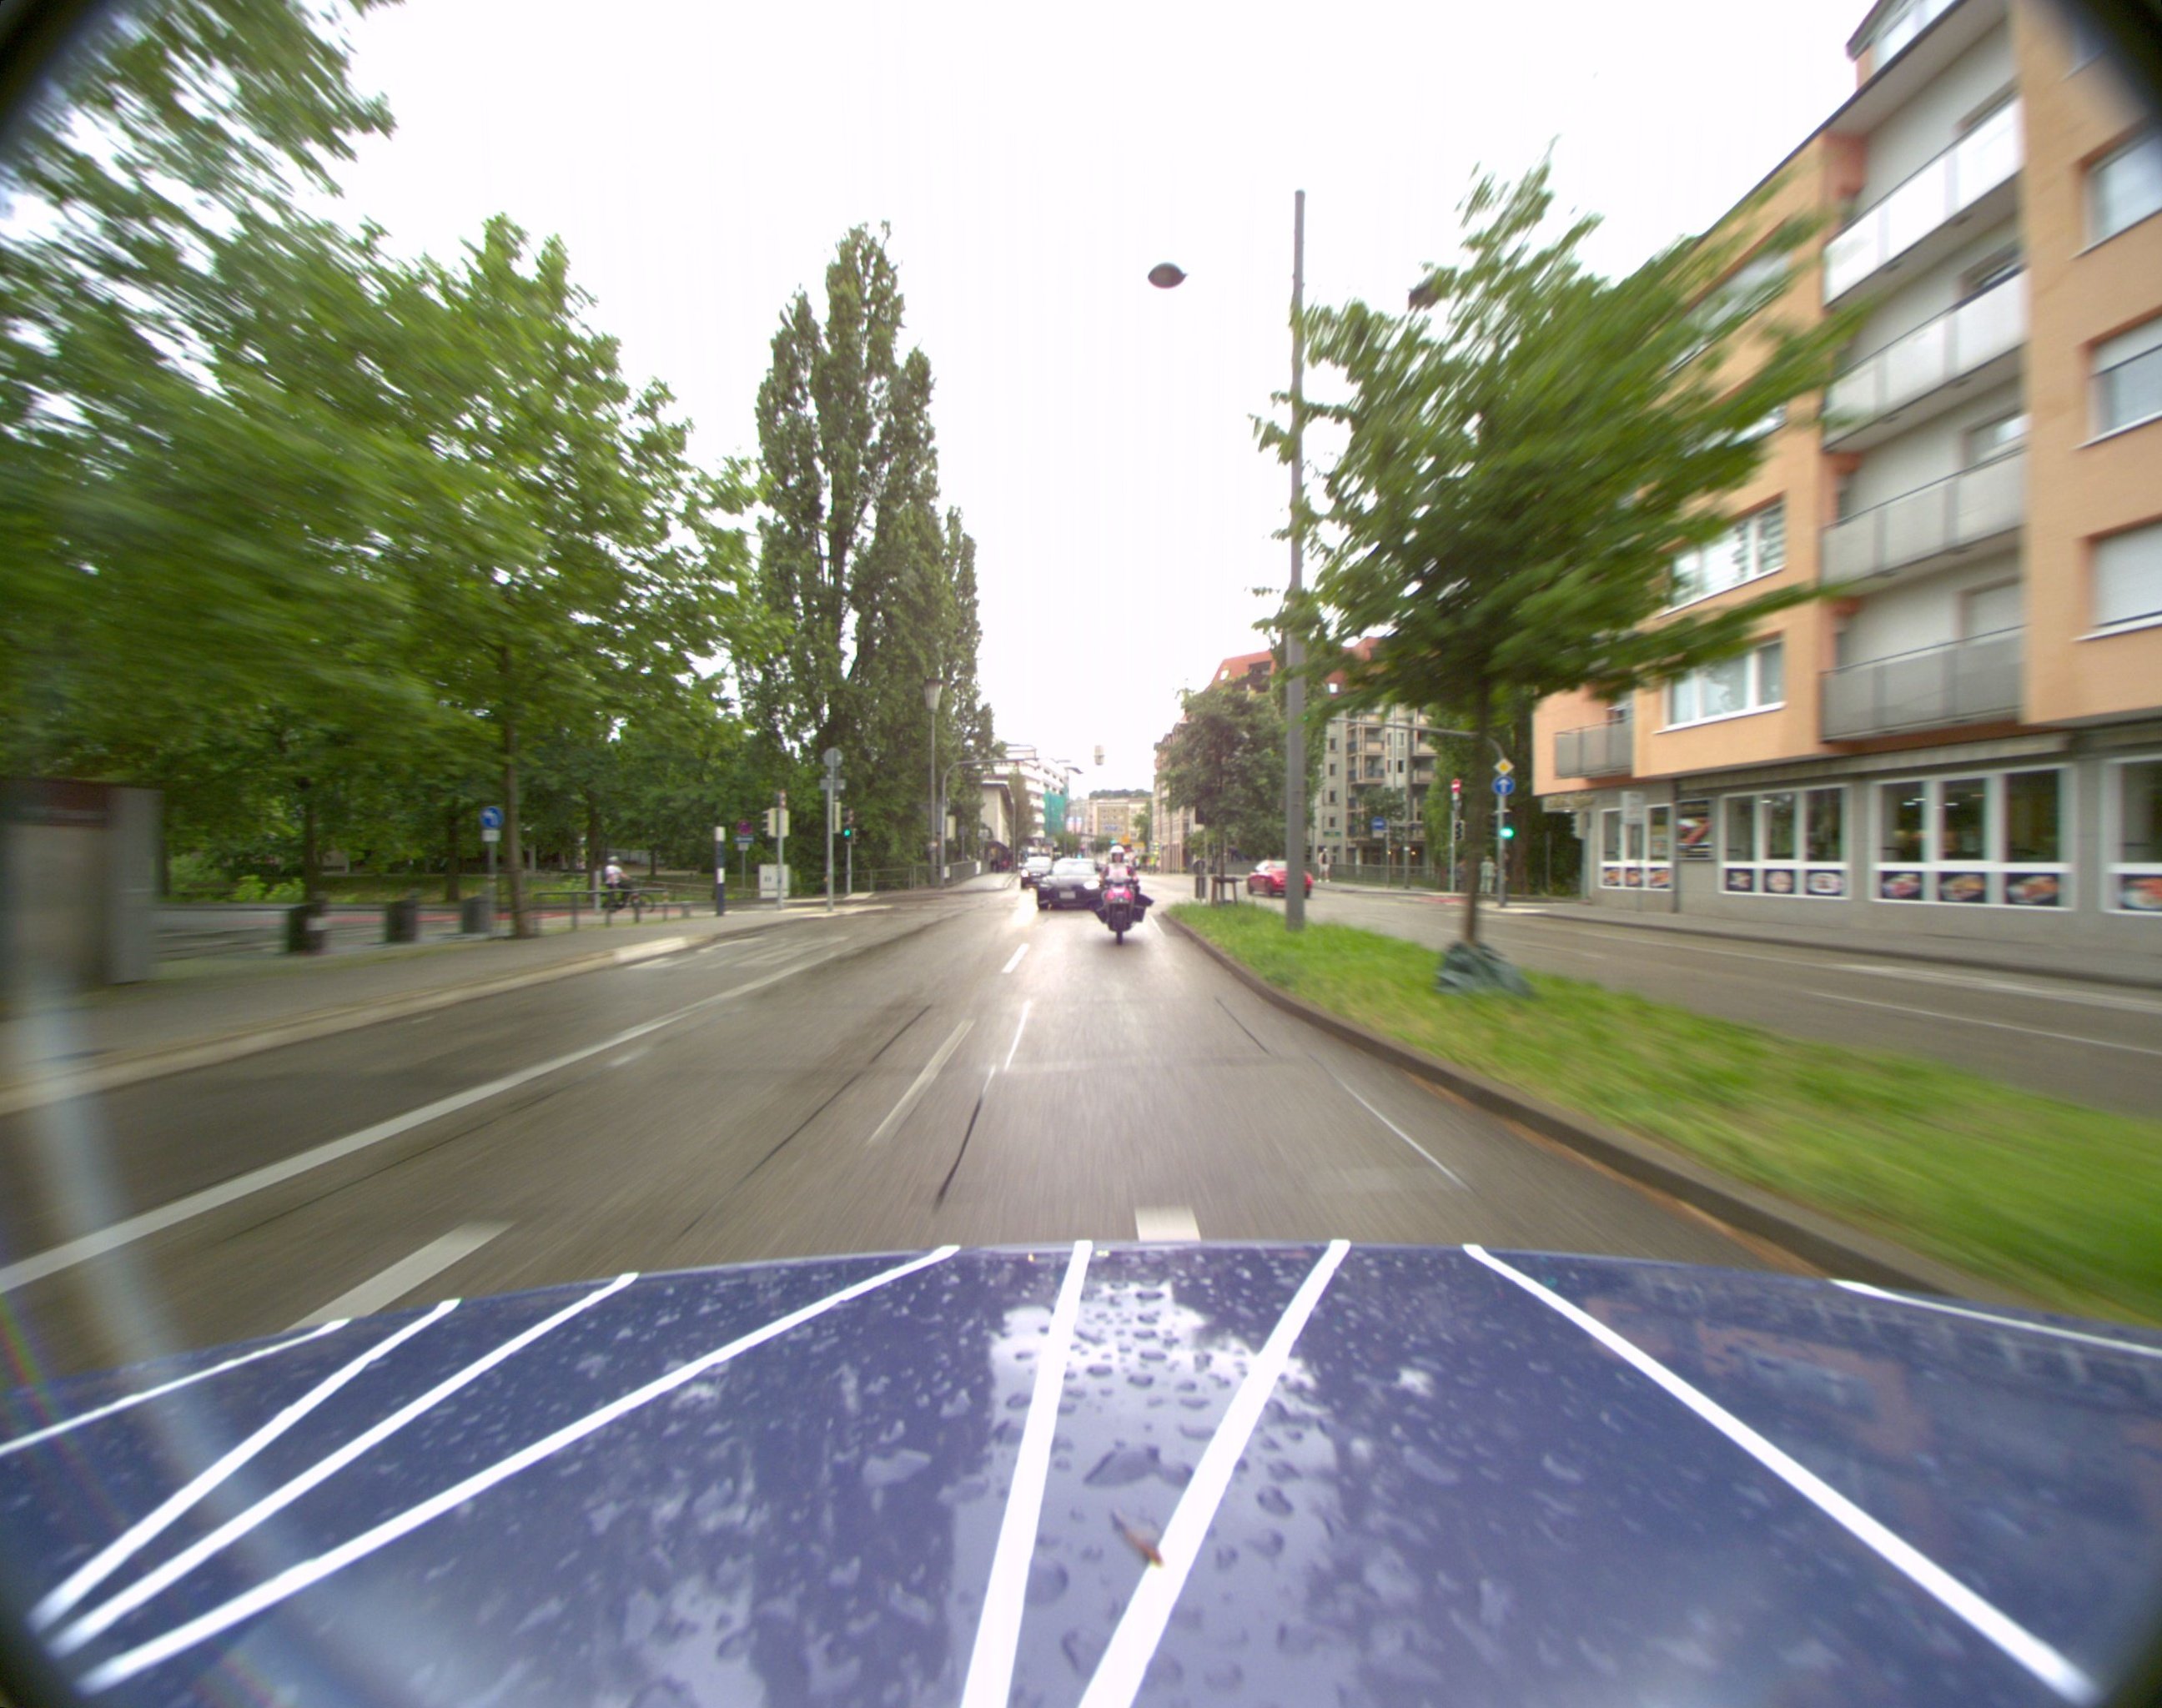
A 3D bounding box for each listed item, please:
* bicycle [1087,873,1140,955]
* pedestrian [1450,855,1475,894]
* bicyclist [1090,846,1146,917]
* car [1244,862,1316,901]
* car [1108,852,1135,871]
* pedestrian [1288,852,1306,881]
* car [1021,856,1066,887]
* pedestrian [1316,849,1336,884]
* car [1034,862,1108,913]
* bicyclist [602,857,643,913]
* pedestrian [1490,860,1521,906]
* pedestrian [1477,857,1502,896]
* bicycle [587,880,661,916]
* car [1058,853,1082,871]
[{"bbox_3d":[0.533,1.024,13.483,0.717,1.297,2.428,2,-3,-2],"label":"bicycle"},{"bbox_3d":[16.683,0.894,33.235,0.748,1.681,0.681,1,0,-35],"label":"pedestrian"},{"bbox_3d":[0.678,0.505,13.633,0.962,1.218,0.715,-1,-3,4],"label":"bicyclist"},{"bbox_3d":[7.805,1.031,30.117,1.571,1.385,3.833,2,0,-4],"label":"car"},{"bbox_3d":[3.152,0.601,59.538,1.670,1.456,3.253,1,0,-4],"label":"car"},{"bbox_3d":[12.863,0.736,45.231,0.767,1.685,0.800,1,0,-6],"label":"pedestrian"},{"bbox_3d":[-1.814,0.872,38.065,1.896,1.391,4.362,2,-1,2],"label":"car"},{"bbox_3d":[13.298,0.678,41.309,0.746,1.876,0.800,1,0,-6],"label":"pedestrian"},{"bbox_3d":[-0.204,0.966,23.682,1.896,1.396,4.362,-1,0,4],"label":"car"},{"bbox_3d":[-14.713,0.980,24.403,0.988,1.760,0.795,0,1,-18],"label":"bicyclist"},{"bbox_3d":[13.625,0.915,24.395,0.561,1.432,0.608,-3,0,-22],"label":"pedestrian"},{"bbox_3d":[17.498,0.968,32.561,0.684,1.639,0.744,1,0,-39],"label":"pedestrian"},{"bbox_3d":[-14.666,1.396,24.426,1.935,1.088,0.649,0,1,-18],"label":"bicycle"},{"bbox_3d":[-1.082,0.797,71.549,1.897,1.566,4.359,2,-1,-5],"label":"car"}]
